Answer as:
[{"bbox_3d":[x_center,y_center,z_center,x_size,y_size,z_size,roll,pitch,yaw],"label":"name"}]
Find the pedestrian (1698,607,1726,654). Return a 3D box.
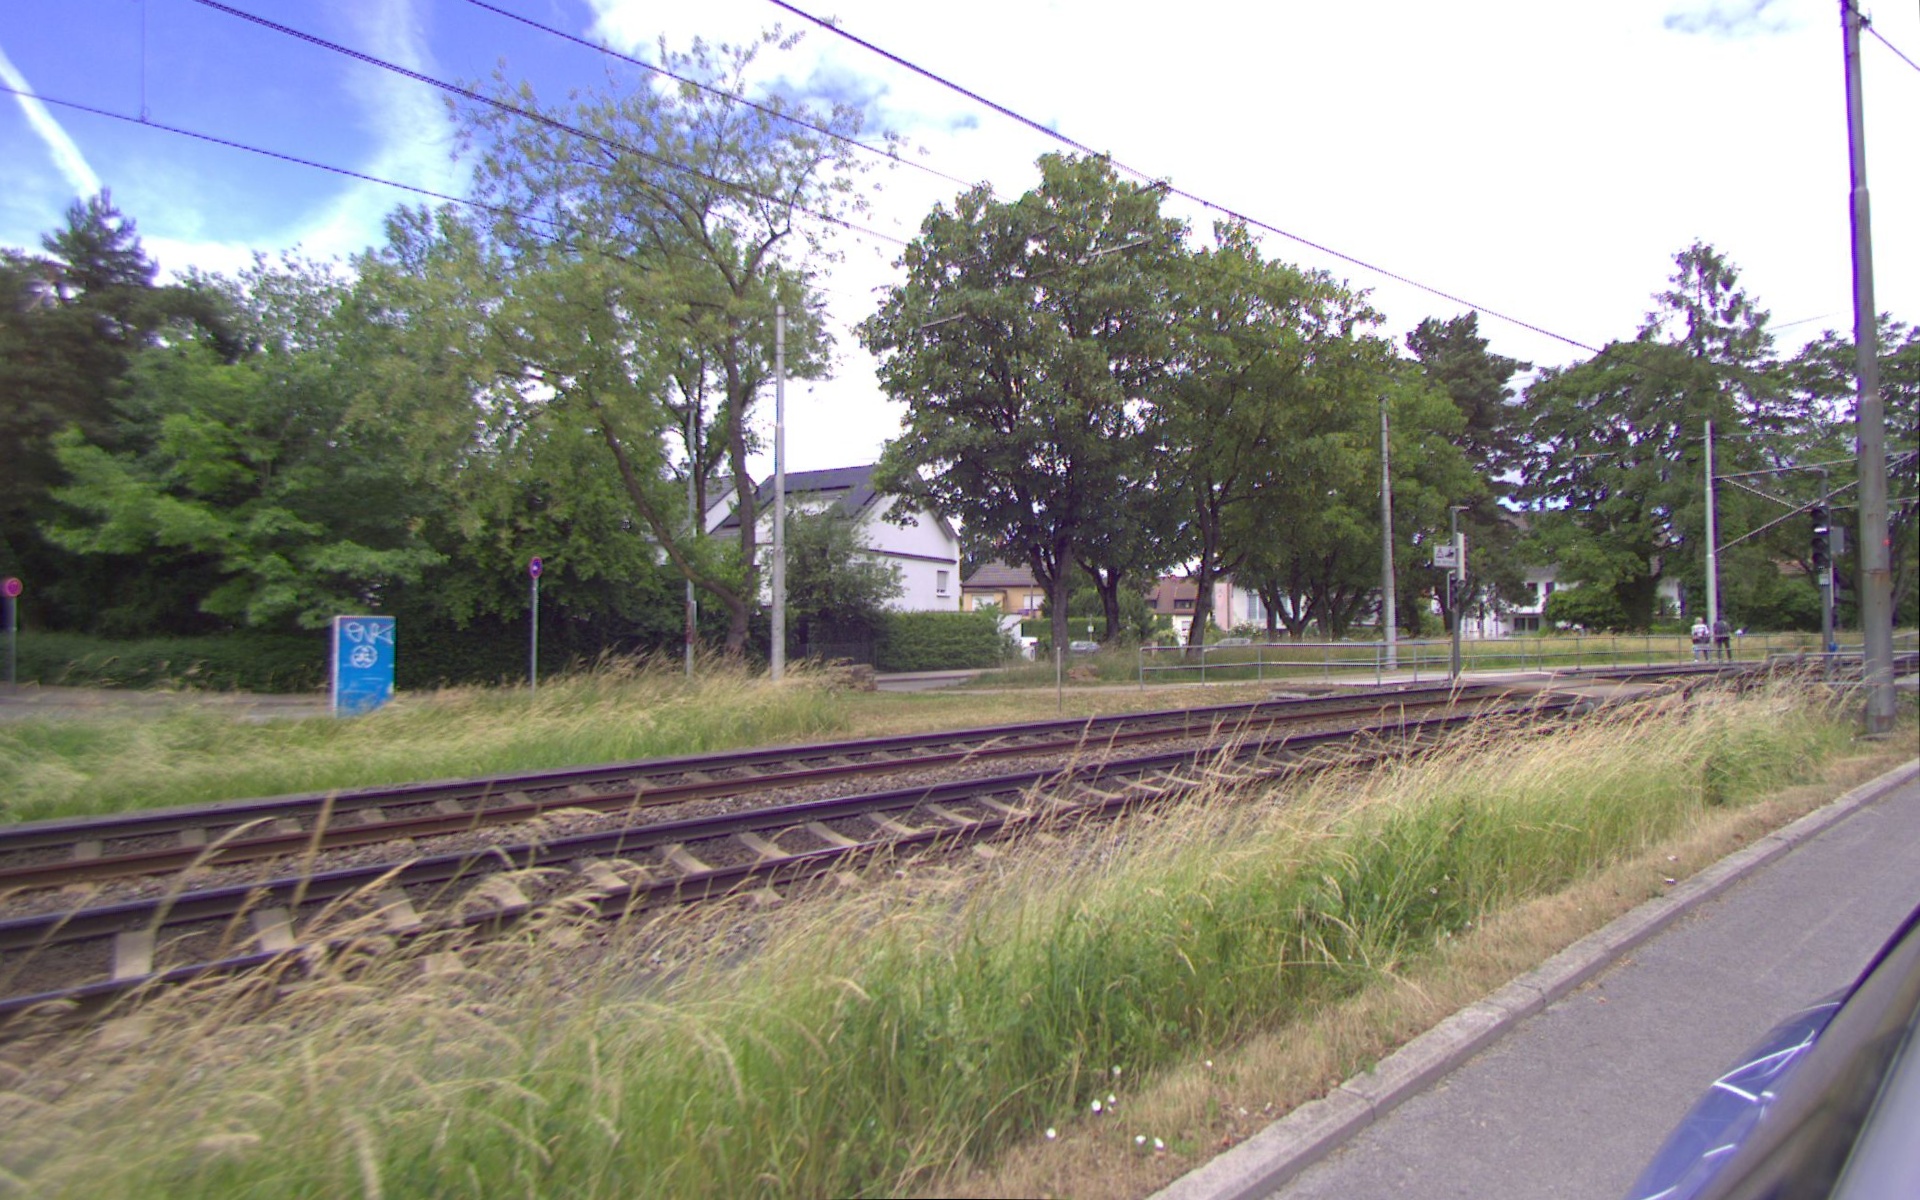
[{"bbox_3d":[25.766,1.043,34.668,0.679,1.582,0.494,1,-3,-31],"label":"pedestrian"}]

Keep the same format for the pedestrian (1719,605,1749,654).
[{"bbox_3d":[26.111,0.986,34.160,0.774,1.643,0.494,1,-3,-31],"label":"pedestrian"}]
